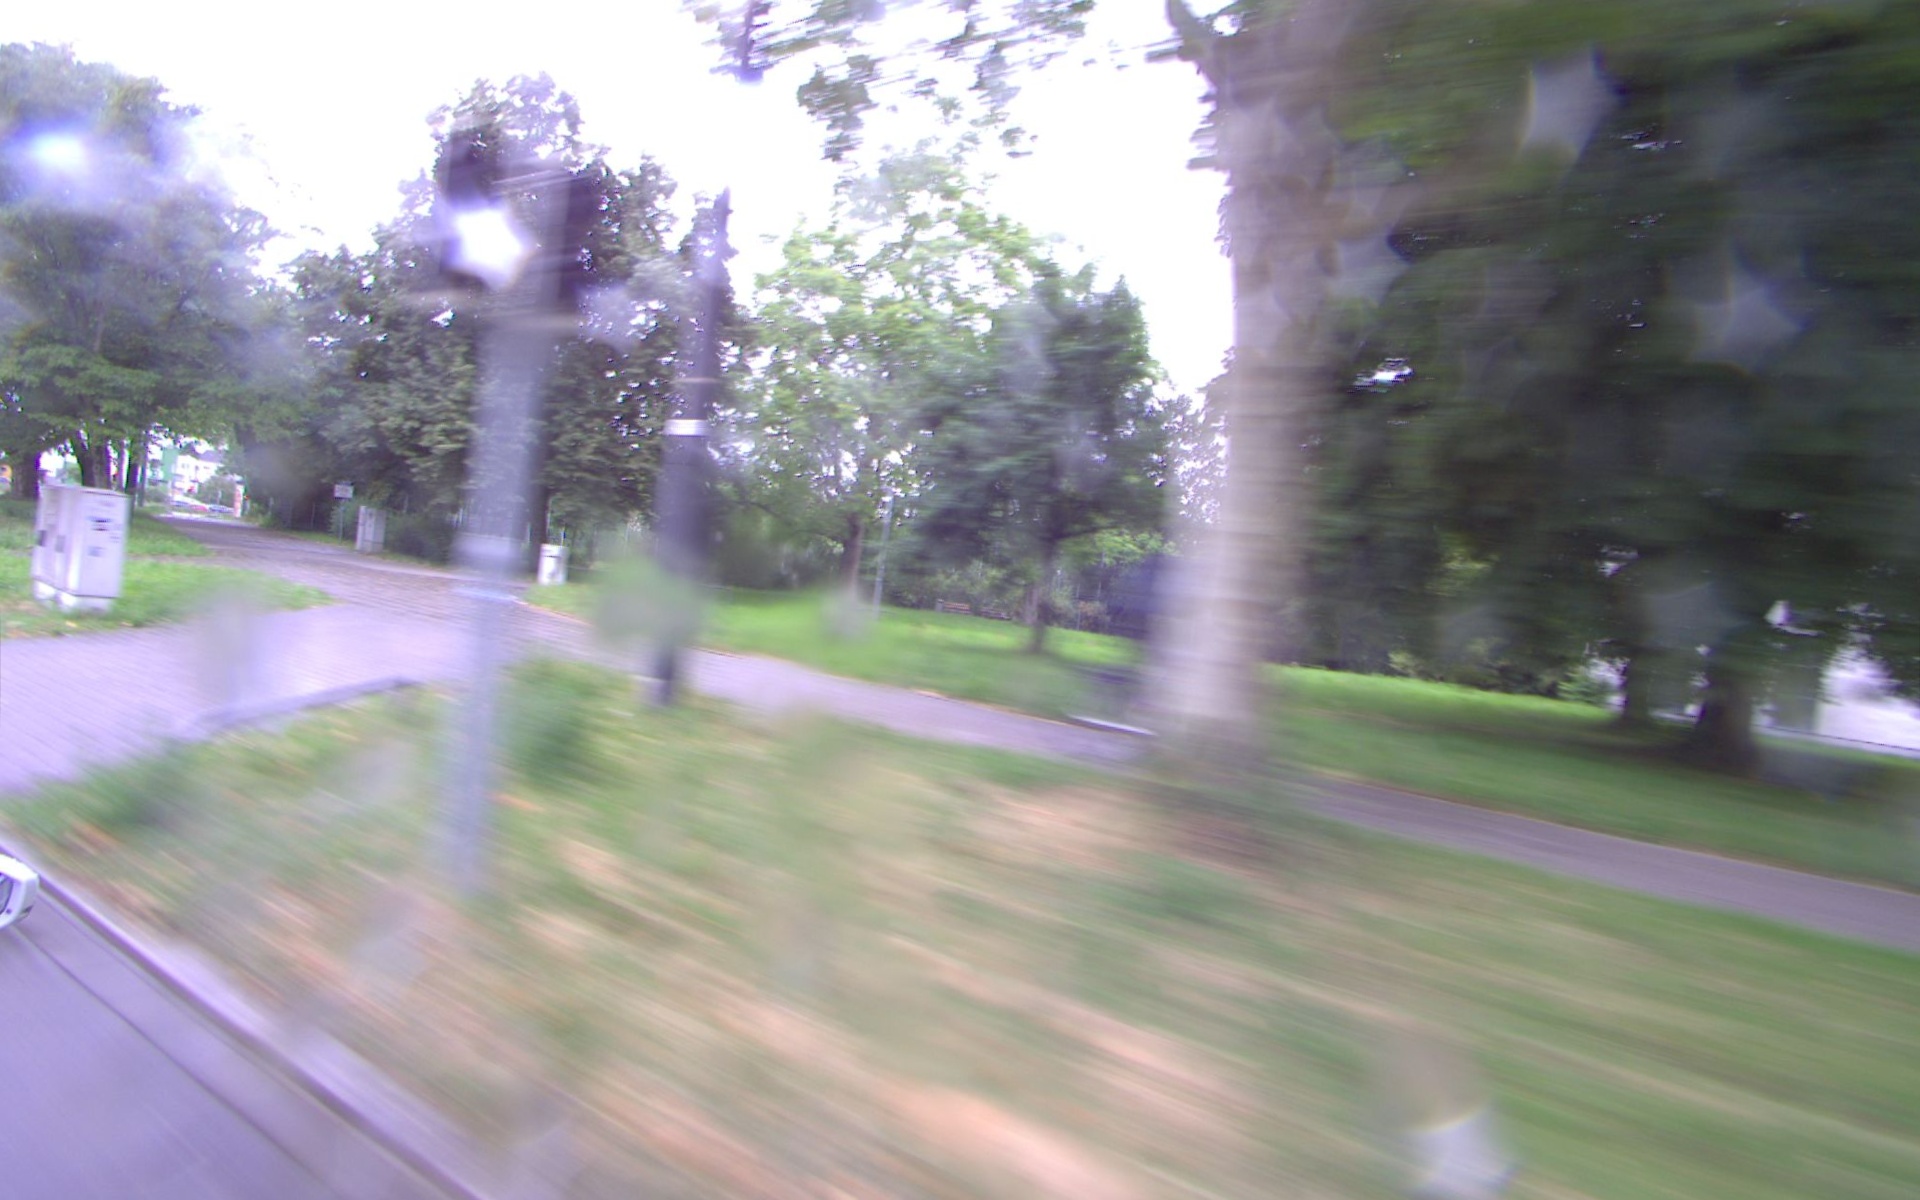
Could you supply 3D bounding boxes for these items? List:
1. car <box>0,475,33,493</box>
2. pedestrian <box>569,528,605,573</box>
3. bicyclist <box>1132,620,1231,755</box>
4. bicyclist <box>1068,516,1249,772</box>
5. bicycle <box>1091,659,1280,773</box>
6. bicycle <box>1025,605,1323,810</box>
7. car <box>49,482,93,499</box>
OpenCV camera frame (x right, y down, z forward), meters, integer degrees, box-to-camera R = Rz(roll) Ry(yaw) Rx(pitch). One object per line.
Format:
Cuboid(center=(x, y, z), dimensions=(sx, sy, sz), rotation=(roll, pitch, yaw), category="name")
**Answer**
Cuboid(center=(-103.803, -12.739, 109.615), dimensions=(3.721, 1.460, 1.749), rotation=(7, 0, -30), category="car")
Cuboid(center=(-15.374, -2.053, 41.499), dimensions=(1.027, 1.716, 0.845), rotation=(6, 1, -40), category="pedestrian")
Cuboid(center=(1.899, 0.741, 8.620), dimensions=(0.582, 1.051, 0.487), rotation=(7, 1, 34), category="bicyclist")
Cuboid(center=(1.502, 0.309, 7.587), dimensions=(0.942, 1.743, 0.711), rotation=(8, 2, 33), category="bicyclist")
Cuboid(center=(1.907, 0.964, 8.607), dimensions=(1.434, 0.717, 0.487), rotation=(7, 1, 34), category="bicycle")
Cuboid(center=(1.563, 0.741, 7.524), dimensions=(1.940, 1.157, 0.711), rotation=(8, 2, 34), category="bicycle")
Cuboid(center=(-107.117, -13.156, 121.272), dimensions=(3.733, 1.460, 1.743), rotation=(7, 0, -39), category="car")
